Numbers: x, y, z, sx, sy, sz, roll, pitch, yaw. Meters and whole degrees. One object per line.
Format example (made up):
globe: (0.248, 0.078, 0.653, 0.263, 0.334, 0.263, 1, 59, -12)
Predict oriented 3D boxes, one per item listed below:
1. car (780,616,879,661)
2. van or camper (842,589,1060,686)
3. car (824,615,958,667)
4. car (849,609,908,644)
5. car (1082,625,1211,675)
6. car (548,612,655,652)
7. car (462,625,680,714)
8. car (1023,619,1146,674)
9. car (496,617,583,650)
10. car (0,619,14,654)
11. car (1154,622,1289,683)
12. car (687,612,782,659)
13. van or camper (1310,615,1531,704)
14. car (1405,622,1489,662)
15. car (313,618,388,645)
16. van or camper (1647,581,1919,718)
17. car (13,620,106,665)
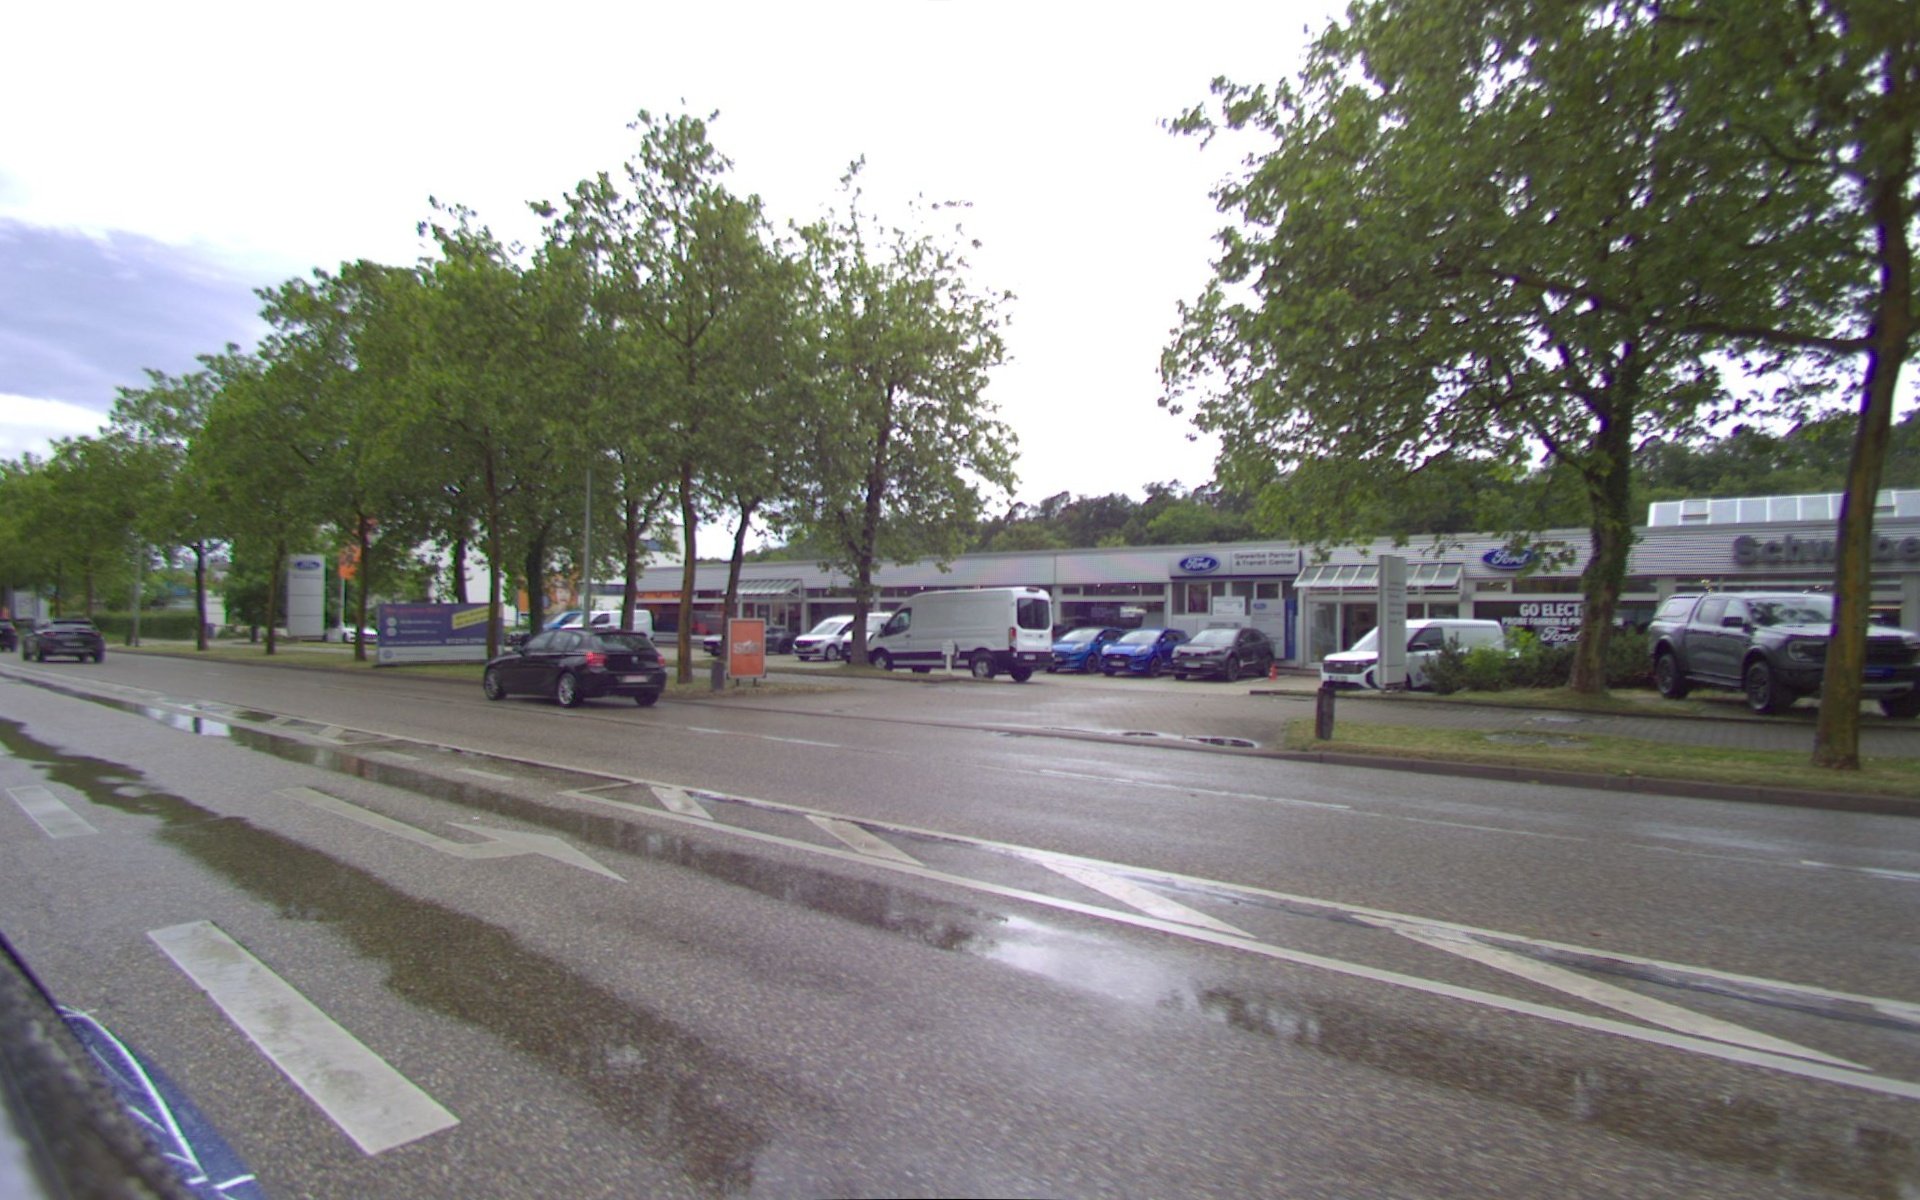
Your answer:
car: (-5.435, 1.574, 42.412, 1.880, 1.780, 3.948, -1, -2, 39)
van or camper: (-0.393, 0.998, 28.792, 6.393, 2.489, 1.974, -1, 0, 39)
car: (-2.644, 1.577, 40.083, 2.412, 1.918, 5.325, -1, -2, 37)
car: (-4.517, 1.449, 56.571, 1.897, 1.757, 3.862, 0, 0, 19)
car: (6.086, 1.571, 32.911, 3.933, 1.532, 1.870, 1, -2, -34)
car: (-19.054, 1.664, 53.973, 2.127, 2.029, 4.995, -1, -2, 39)
car: (-7.300, 1.210, 18.793, 4.532, 1.440, 1.719, -1, -3, 39)
car: (4.295, 1.560, 34.829, 3.933, 1.780, 1.870, 1, -2, -34)
car: (-23.835, 1.882, 57.468, 2.065, 1.827, 4.082, -1, -2, 42)
car: (-43.812, 1.594, 45.311, 3.857, 1.543, 1.744, -1, -3, 42)
car: (8.093, 1.582, 31.301, 3.932, 1.780, 1.870, 1, -2, -33)
car: (-10.258, 1.589, 46.167, 1.880, 2.029, 3.948, -1, -2, 39)
van or camper: (10.122, 1.258, 22.237, 4.566, 1.798, 1.845, 1, -2, -24)
car: (18.900, 1.597, 39.208, 1.865, 1.450, 3.943, -1, -2, 43)
car: (-34.758, 1.773, 57.649, 5.243, 1.507, 2.096, -1, -2, 40)
van or camper: (13.330, 0.732, 16.169, 2.246, 1.835, 5.273, 0, -2, 15)
car: (-31.002, 1.427, 34.803, 4.175, 1.473, 1.650, -1, -3, 38)
